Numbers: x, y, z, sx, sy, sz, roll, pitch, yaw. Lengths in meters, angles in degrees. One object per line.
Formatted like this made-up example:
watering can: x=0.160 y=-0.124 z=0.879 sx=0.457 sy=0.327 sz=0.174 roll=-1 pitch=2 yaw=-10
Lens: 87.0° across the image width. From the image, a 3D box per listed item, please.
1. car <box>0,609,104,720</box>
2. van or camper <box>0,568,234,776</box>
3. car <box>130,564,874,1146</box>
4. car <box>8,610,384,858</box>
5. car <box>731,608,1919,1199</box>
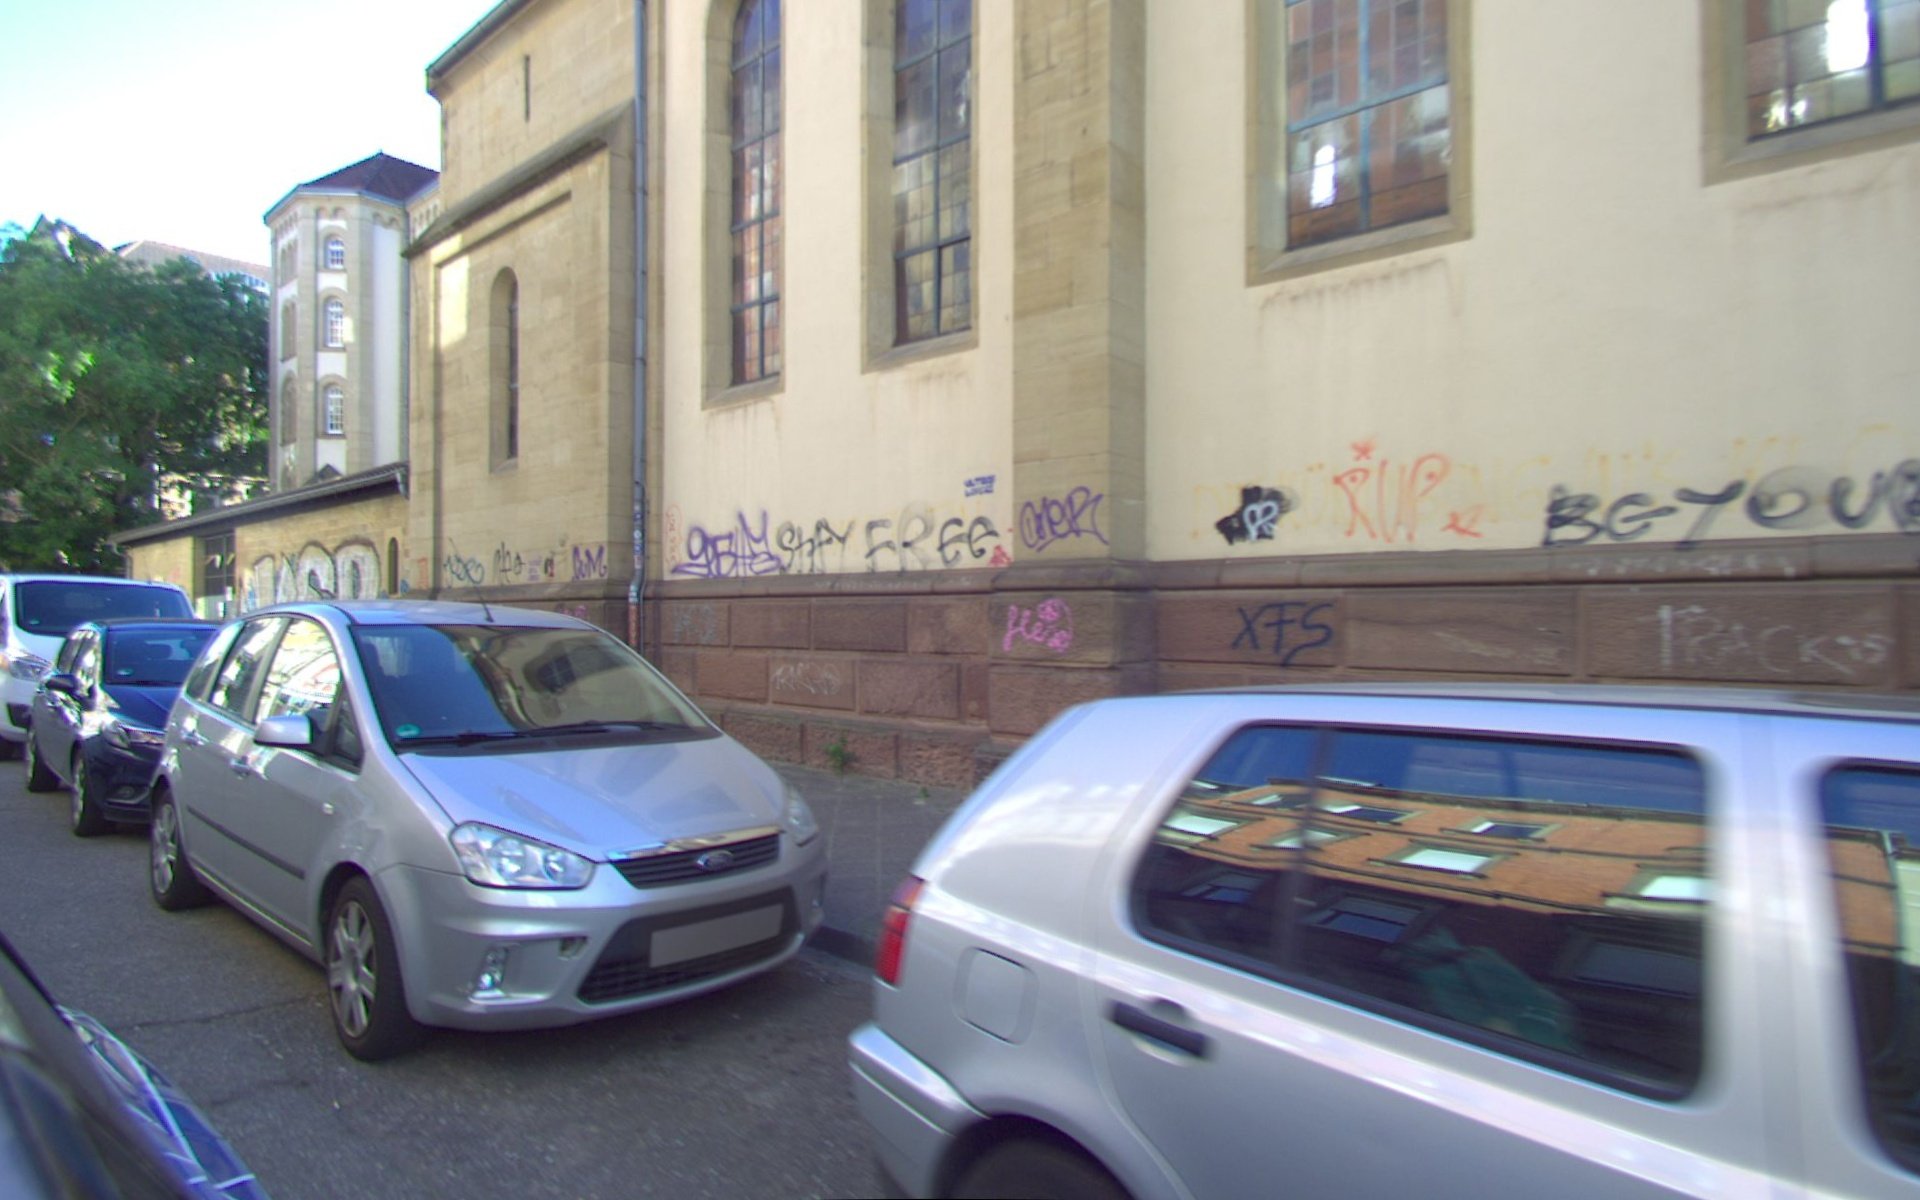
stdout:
car: x=-14.863 y=0.942 z=15.921 sx=3.639 sy=1.578 sz=1.631 roll=-1 pitch=-1 yaw=41
van or camper: x=-10.245 y=0.708 z=11.773 sx=4.561 sy=1.966 sz=1.958 roll=-1 pitch=-1 yaw=41
car: x=-2.394 y=0.685 z=4.726 sx=3.999 sy=1.579 sz=1.702 roll=0 pitch=1 yaw=42
car: x=-6.178 y=0.845 z=8.032 sx=3.735 sy=1.492 sz=1.674 roll=-1 pitch=-1 yaw=41
car: x=1.545 y=0.720 z=1.416 sx=4.146 sy=1.374 sz=1.556 roll=0 pitch=1 yaw=42
